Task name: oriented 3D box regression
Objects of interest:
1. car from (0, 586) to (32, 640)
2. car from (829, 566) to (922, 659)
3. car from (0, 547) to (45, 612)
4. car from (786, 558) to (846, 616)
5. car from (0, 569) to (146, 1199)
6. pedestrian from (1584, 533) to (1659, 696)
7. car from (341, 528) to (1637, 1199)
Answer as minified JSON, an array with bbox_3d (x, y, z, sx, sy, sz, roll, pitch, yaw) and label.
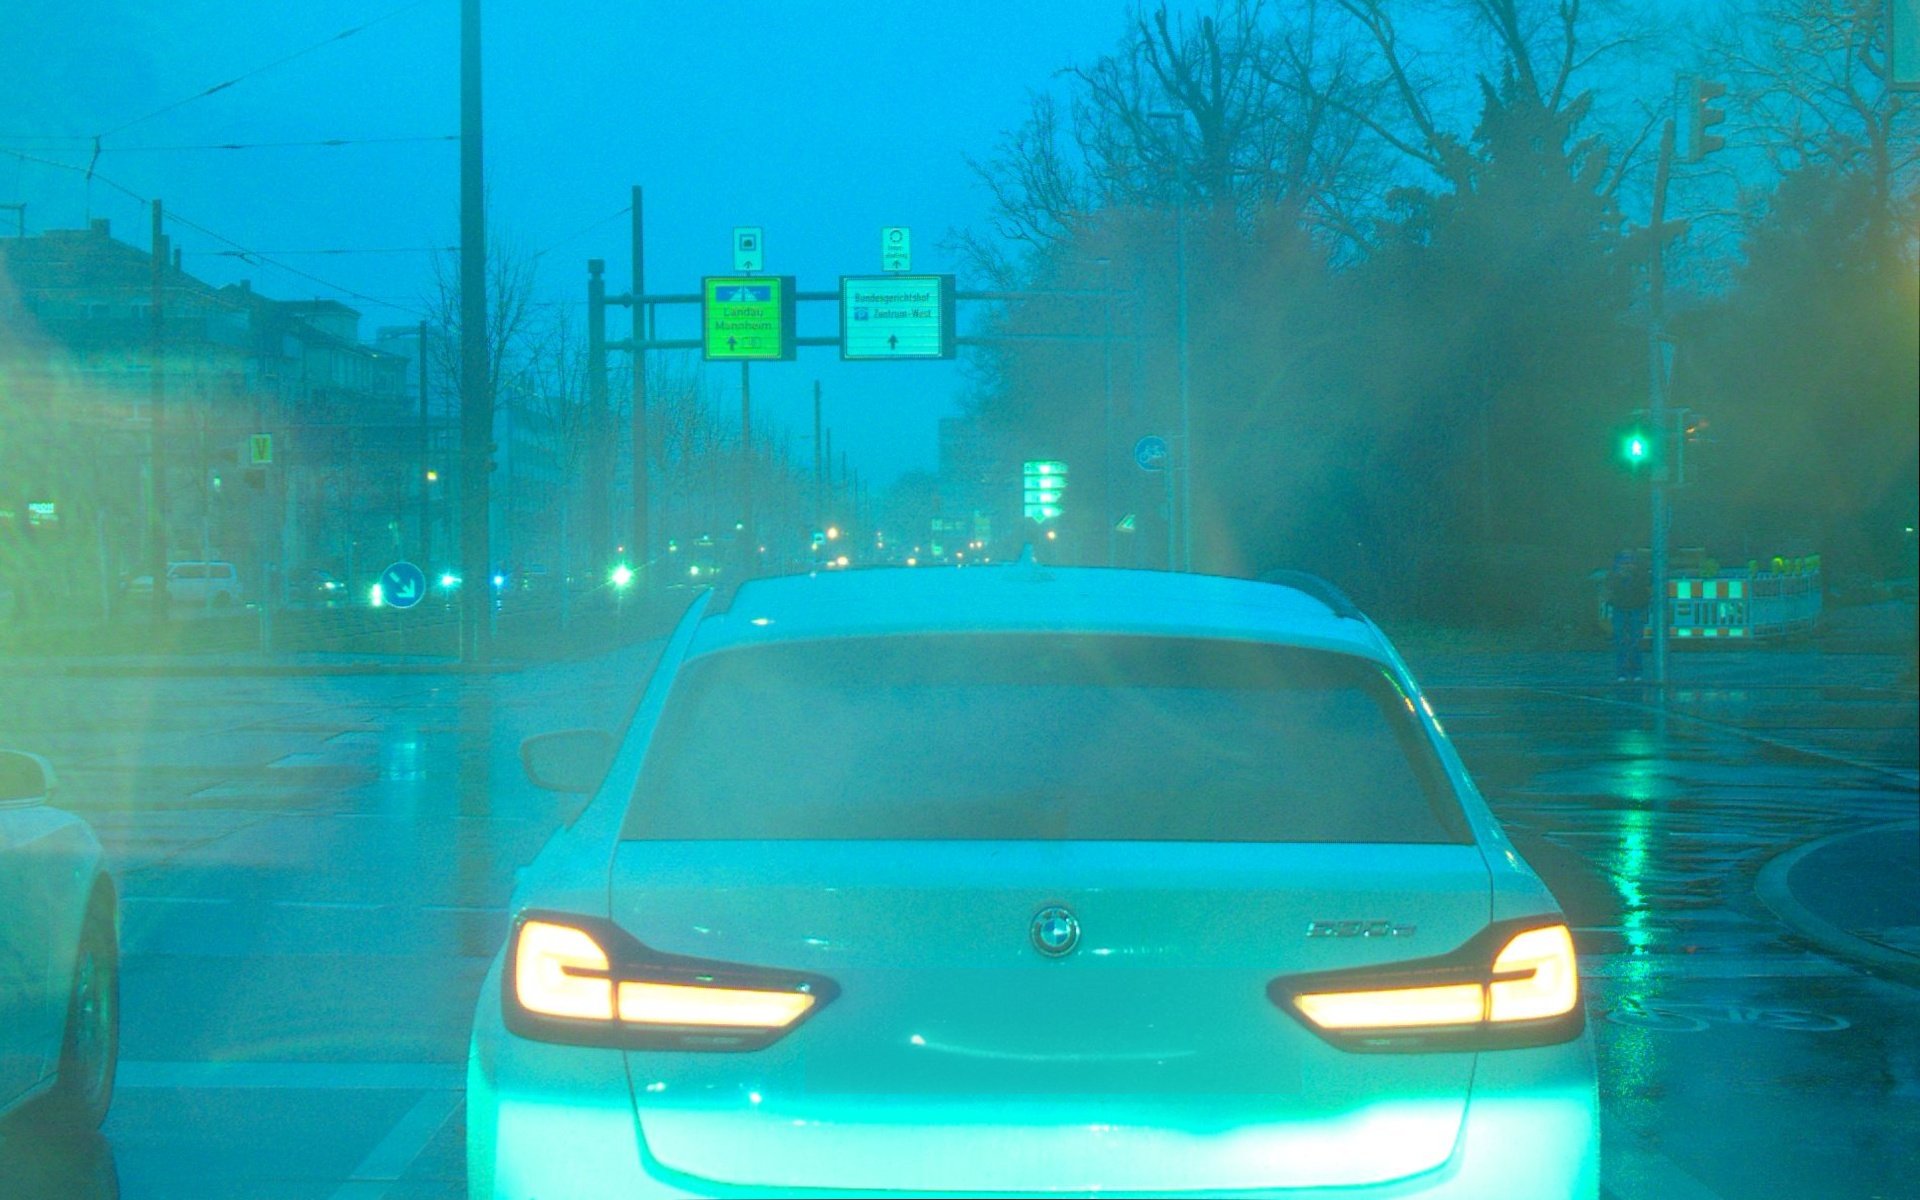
[{"bbox_3d":[-27.715,0.360,96.786,1.993,1.457,5.095,1,1,-2],"label":"car"},{"bbox_3d":[-1.873,0.259,77.184,1.993,2.007,4.000,1,1,-1],"label":"car"},{"bbox_3d":[-22.550,-0.500,79.090,1.993,1.457,5.096,1,1,-4],"label":"car"},{"bbox_3d":[-5.129,-0.474,123.055,1.993,2.007,4.000,1,1,-1],"label":"car"},{"bbox_3d":[-2.954,0.665,6.991,1.759,1.464,4.252,1,1,-3],"label":"car"},{"bbox_3d":[7.668,0.163,39.880,0.673,1.873,0.715,1,0,-3],"label":"pedestrian"},{"bbox_3d":[-0.058,0.665,6.820,1.759,1.547,4.252,1,1,-3],"label":"car"}]
